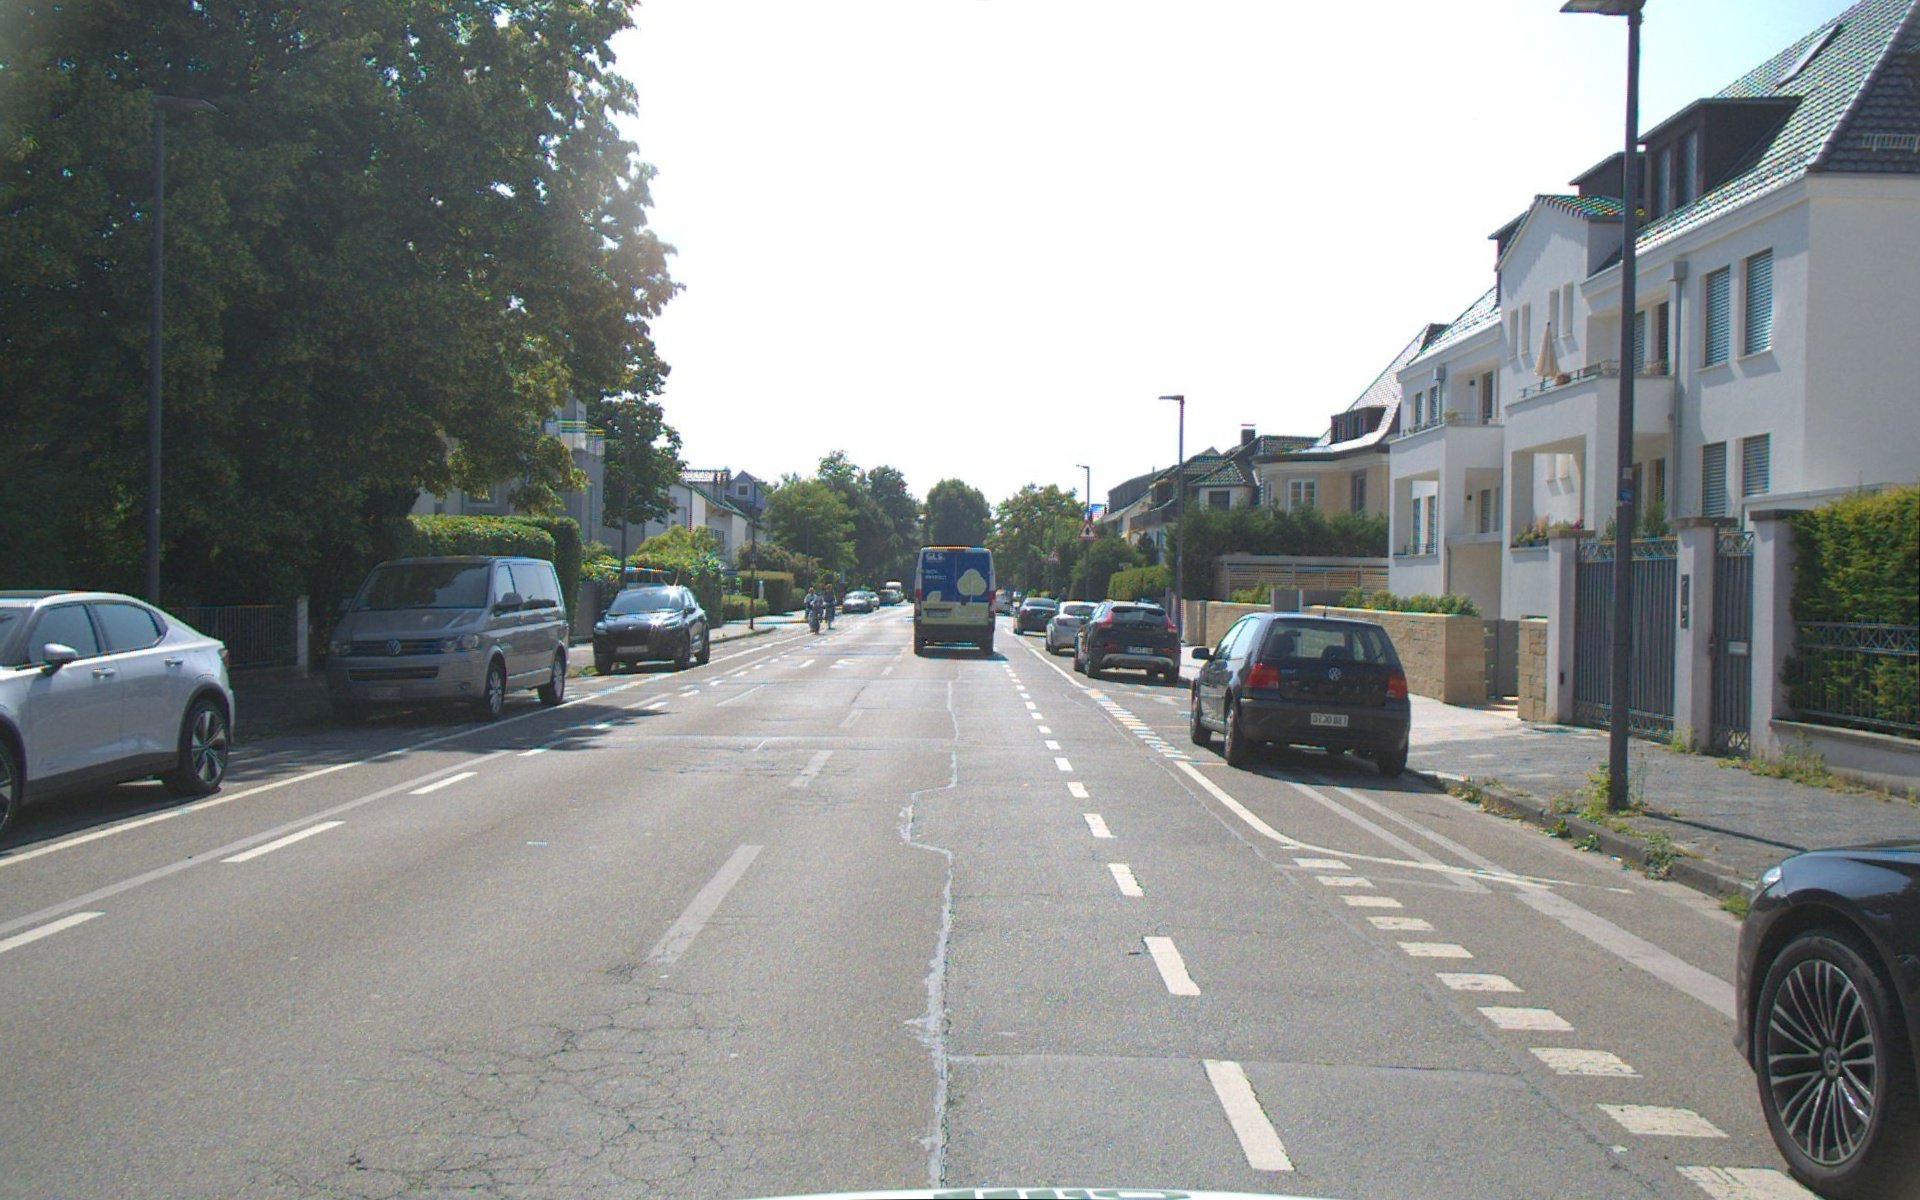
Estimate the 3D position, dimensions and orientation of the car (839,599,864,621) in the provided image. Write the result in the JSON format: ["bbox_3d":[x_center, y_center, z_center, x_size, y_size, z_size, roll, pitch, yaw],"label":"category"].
[{"bbox_3d":[-7.573,0.676,115.453,1.750,1.465,4.152,0,0,-4],"label":"car"}]

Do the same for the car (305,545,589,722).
[{"bbox_3d":[-6.246,0.370,20.787,1.845,1.953,4.870,-1,0,3],"label":"car"}]

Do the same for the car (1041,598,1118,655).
[{"bbox_3d":[3.179,0.712,44.617,1.701,1.352,4.076,4,-1,0],"label":"car"}]

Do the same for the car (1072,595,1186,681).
[{"bbox_3d":[3.272,0.698,32.701,1.687,1.474,4.168,4,0,-1],"label":"car"}]

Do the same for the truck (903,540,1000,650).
[{"bbox_3d":[-0.276,-0.113,42.092,2.227,2.616,4.389,1,0,-3],"label":"truck"}]

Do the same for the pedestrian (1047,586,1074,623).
[{"bbox_3d":[5.374,0.239,88.194,0.890,1.905,1.175,1,0,-34],"label":"pedestrian"}]

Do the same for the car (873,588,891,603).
[{"bbox_3d":[-8.132,-0.496,173.142,1.745,1.485,4.085,1,0,-2],"label":"car"}]

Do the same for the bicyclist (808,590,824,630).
[{"bbox_3d":[-5.432,0.359,62.255,0.480,1.479,0.964,-1,0,0],"label":"bicyclist"}]

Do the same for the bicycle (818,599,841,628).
[{"bbox_3d":[-5.661,0.572,71.683,0.766,1.186,2.420,-1,0,0],"label":"bicycle"}]

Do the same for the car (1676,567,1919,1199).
[{"bbox_3d":[3.247,0.782,2.795,1.663,1.610,4.898,4,0,-3],"label":"car"}]

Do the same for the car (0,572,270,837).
[{"bbox_3d":[-6.393,0.612,10.785,1.796,1.511,4.562,-2,1,1],"label":"car"}]

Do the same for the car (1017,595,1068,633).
[{"bbox_3d":[3.137,0.511,63.730,1.701,1.352,4.259,1,0,-1],"label":"car"}]

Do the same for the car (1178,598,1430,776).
[{"bbox_3d":[3.344,0.779,16.786,1.587,1.474,3.999,4,0,-1],"label":"car"}]

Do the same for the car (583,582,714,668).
[{"bbox_3d":[-6.301,0.490,33.943,1.813,1.639,4.448,0,0,0],"label":"car"}]

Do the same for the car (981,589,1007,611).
[{"bbox_3d":[2.427,-0.004,118.806,1.705,1.426,4.073,0,2,-2],"label":"car"}]

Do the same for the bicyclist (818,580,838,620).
[{"bbox_3d":[-5.683,0.010,71.210,0.734,1.697,1.022,-1,0,0],"label":"bicyclist"}]

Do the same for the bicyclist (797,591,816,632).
[{"bbox_3d":[-6.204,0.457,66.942,0.662,1.608,0.859,-1,0,0],"label":"bicyclist"}]

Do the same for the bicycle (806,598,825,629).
[{"bbox_3d":[-5.432,0.498,62.234,0.588,1.124,1.346,-1,0,0],"label":"bicycle"}]

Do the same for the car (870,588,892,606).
[{"bbox_3d":[-6.611,-0.233,138.921,1.749,1.465,3.999,1,0,-1],"label":"car"}]

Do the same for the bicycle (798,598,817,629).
[{"bbox_3d":[-6.165,0.539,66.940,0.547,1.206,2.036,-1,1,0],"label":"bicycle"}]
